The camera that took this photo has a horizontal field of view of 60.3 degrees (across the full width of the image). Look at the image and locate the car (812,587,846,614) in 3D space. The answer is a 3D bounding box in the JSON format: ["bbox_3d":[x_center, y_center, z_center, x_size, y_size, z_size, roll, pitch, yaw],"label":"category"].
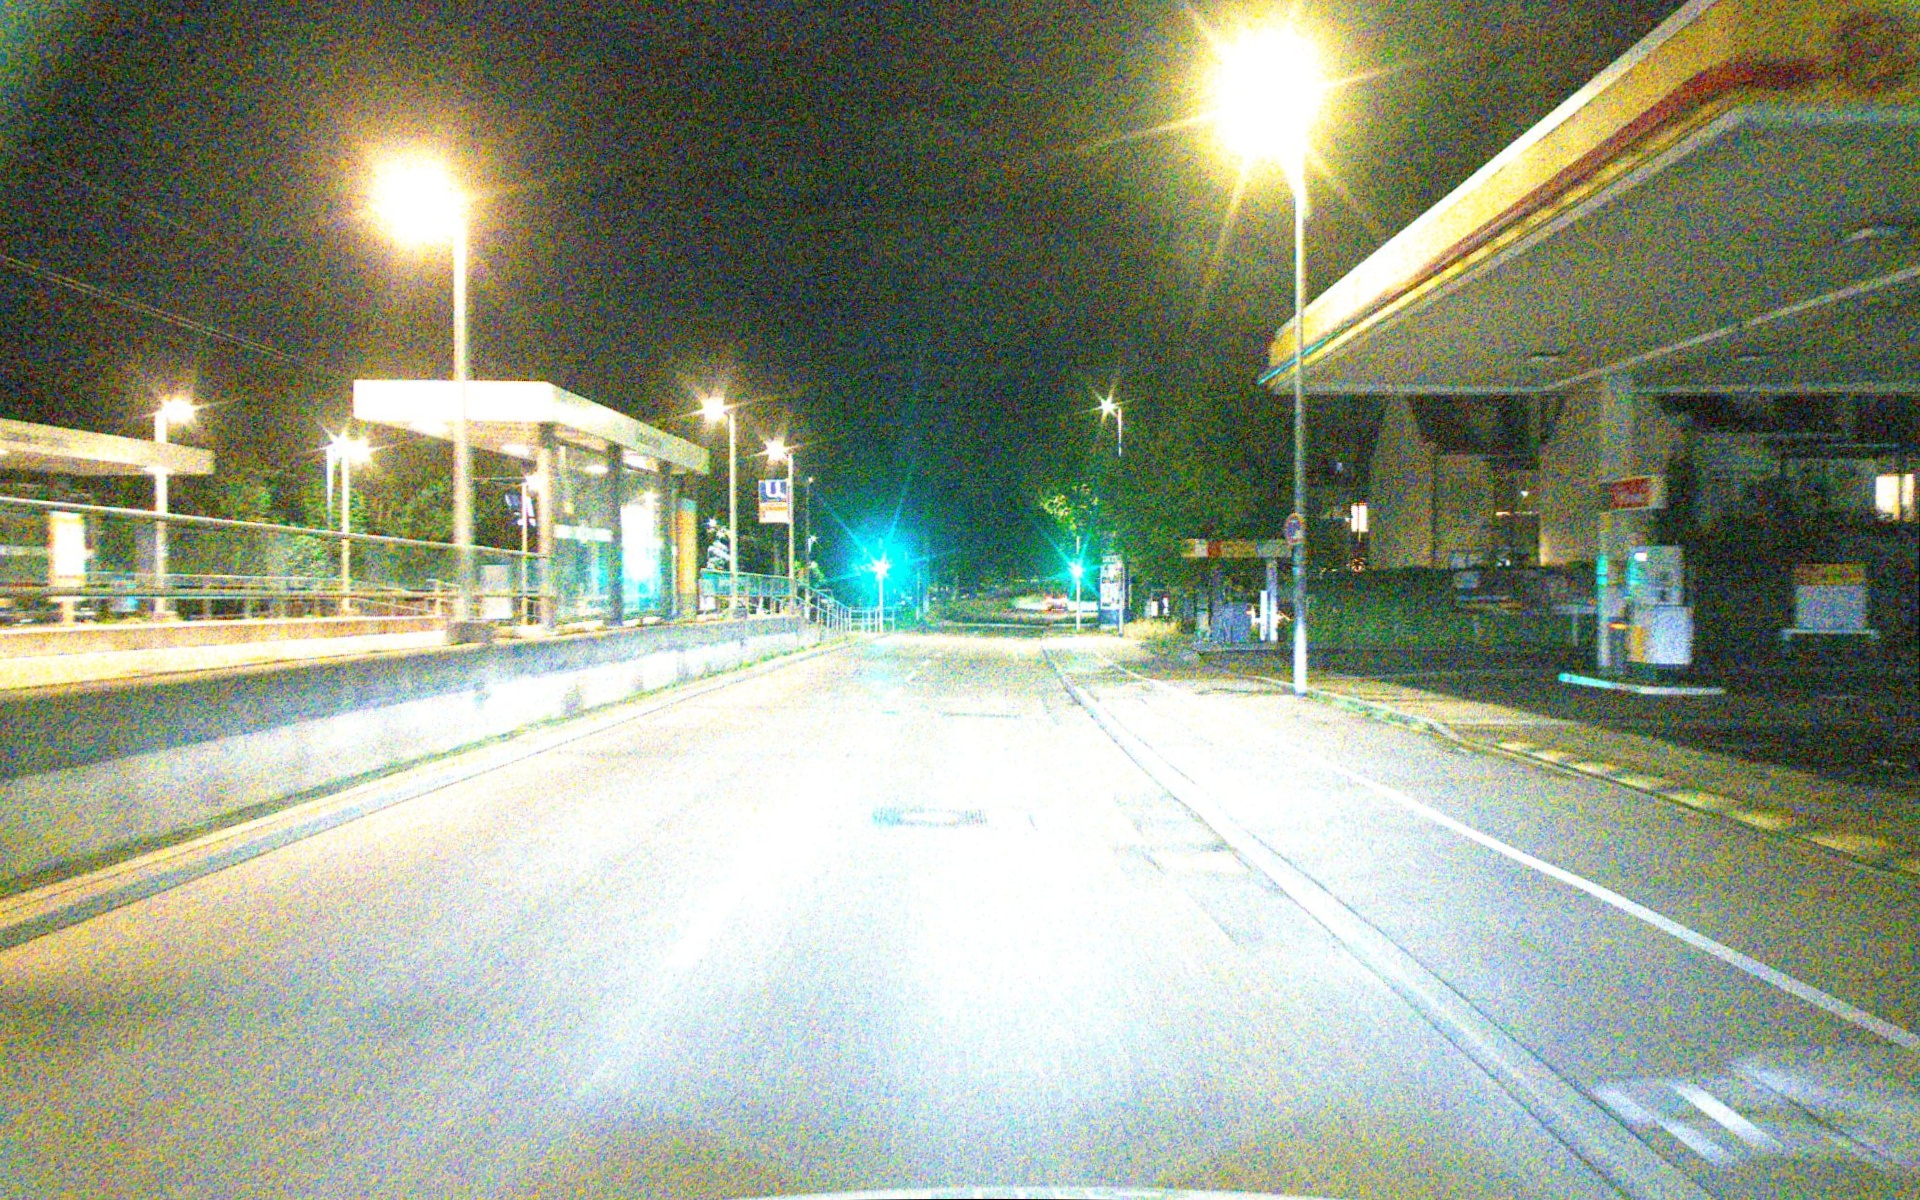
[{"bbox_3d":[-9.385,0.035,118.581,1.818,1.937,4.882,0,0,3],"label":"car"}]

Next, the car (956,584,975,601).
[{"bbox_3d":[0.759,-0.969,216.691,2.048,2.048,4.003,-4,1,5],"label":"car"}]

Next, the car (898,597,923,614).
[{"bbox_3d":[-5.010,0.521,166.734,1.951,1.656,4.680,0,0,5],"label":"car"}]

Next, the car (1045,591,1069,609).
[{"bbox_3d":[8.759,0.015,149.792,2.116,1.610,4.015,1,0,3],"label":"car"}]

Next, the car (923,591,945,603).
[{"bbox_3d":[-2.923,-0.328,186.302,1.951,1.361,5.435,0,0,5],"label":"car"}]

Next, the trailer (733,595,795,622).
[{"bbox_3d":[-11.626,0.471,98.481,2.368,1.398,4.659,-4,0,10],"label":"trailer"}]

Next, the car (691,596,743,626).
[{"bbox_3d":[-12.484,0.552,85.204,1.611,1.362,4.545,-4,0,5],"label":"car"}]

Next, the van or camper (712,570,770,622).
[{"bbox_3d":[-12.062,-0.254,91.625,2.225,2.693,5.665,-2,0,1],"label":"van or camper"}]

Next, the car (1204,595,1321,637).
[{"bbox_3d":[10.199,0.538,55.965,3.685,1.378,1.860,0,0,3],"label":"car"}]
